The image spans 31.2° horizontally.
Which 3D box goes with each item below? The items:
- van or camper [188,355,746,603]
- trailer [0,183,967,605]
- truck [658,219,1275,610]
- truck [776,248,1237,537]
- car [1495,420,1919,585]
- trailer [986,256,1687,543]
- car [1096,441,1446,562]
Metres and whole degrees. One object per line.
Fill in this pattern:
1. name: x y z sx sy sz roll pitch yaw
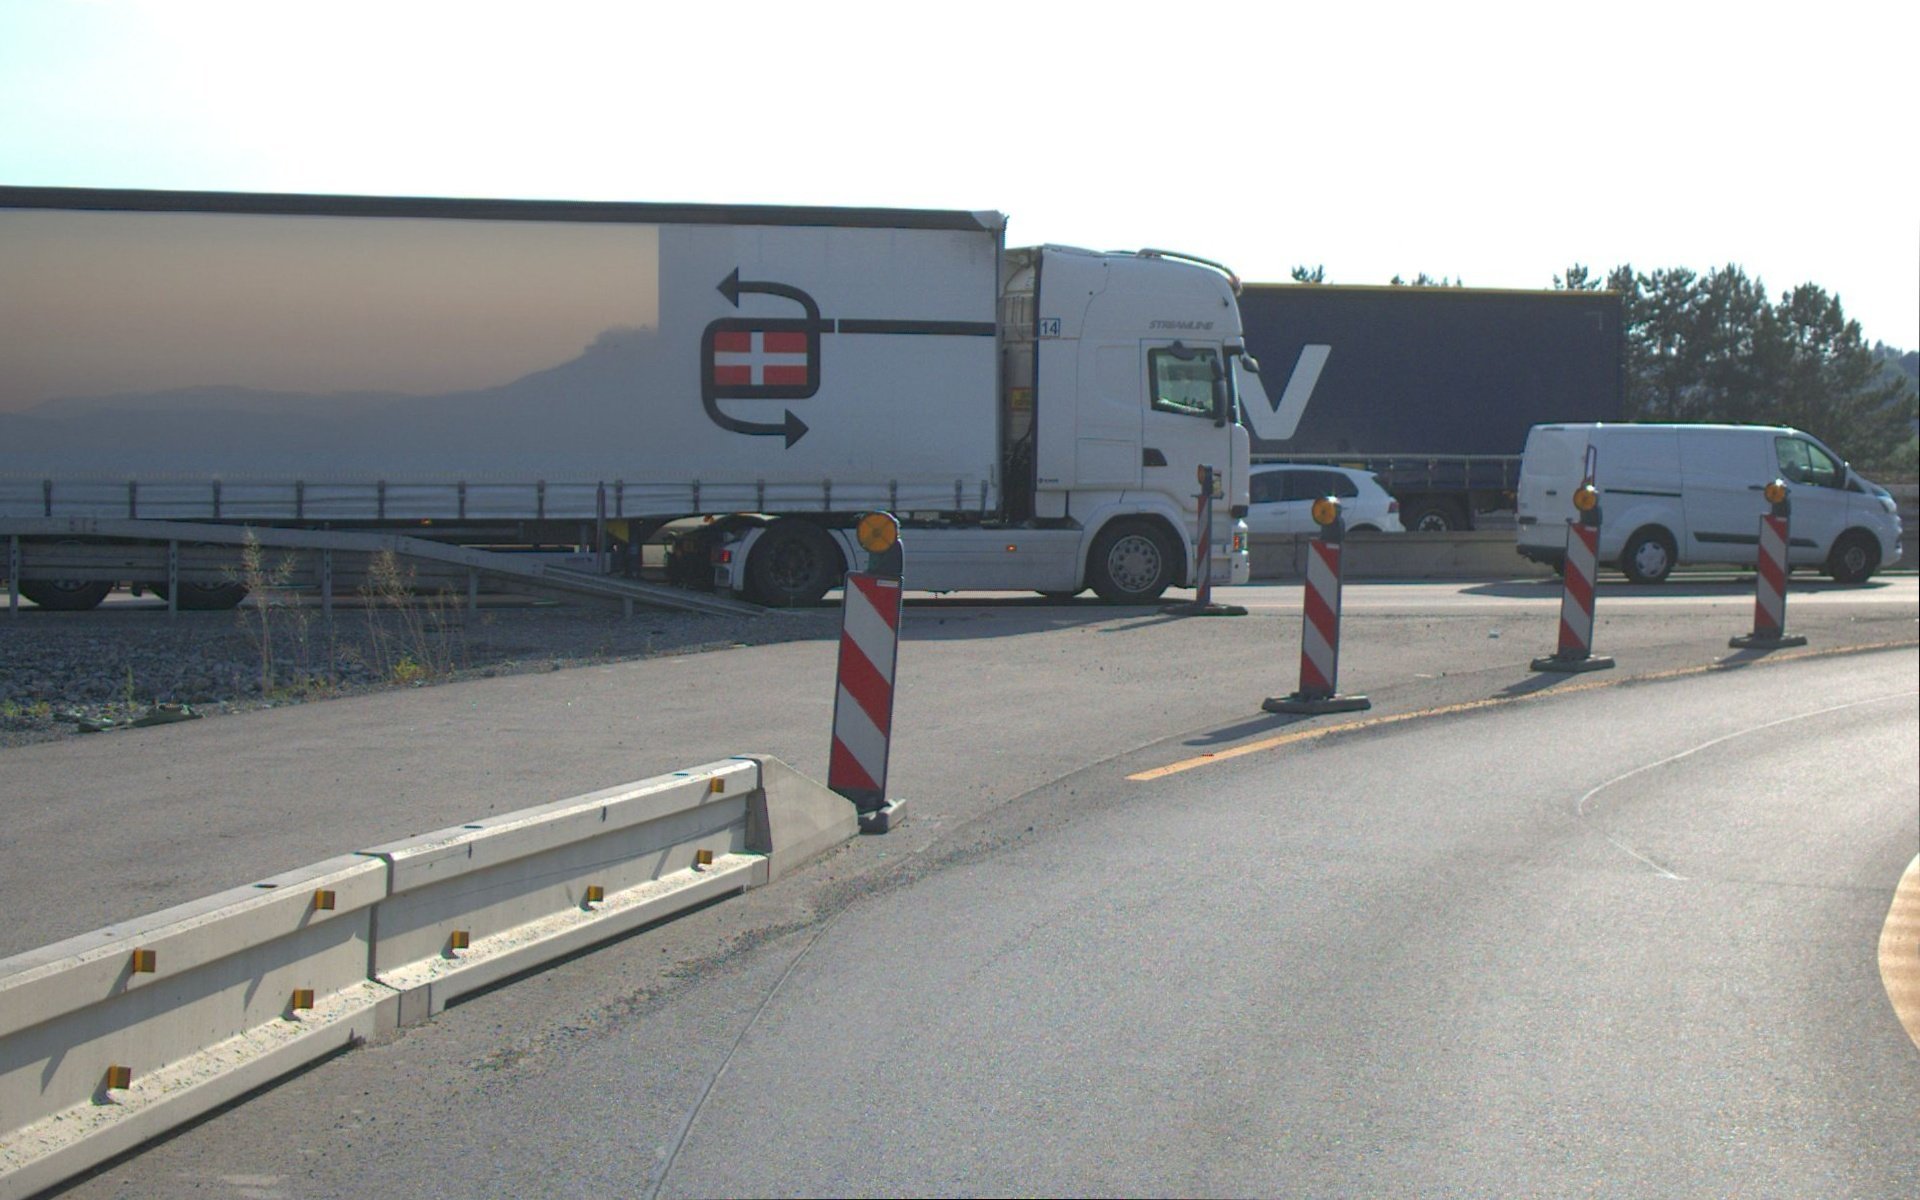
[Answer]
1. van or camper: -5.513 -1.325 38.405 5.882 2.611 2.001 0 2 -18
2. trailer: -6.776 -1.964 33.998 13.582 3.865 2.489 0 2 -19
3. truck: 0.046 -1.886 36.413 5.990 3.865 2.489 0 2 -19
4. truck: 0.609 -2.771 47.547 5.667 3.714 3.007 0 0 -18
5. car: 9.453 -1.229 43.223 4.961 1.974 2.036 0 3 -18
6. trailer: 5.382 -2.746 49.121 9.536 3.739 3.017 0 0 -18
7. car: 4.063 -1.293 44.986 4.223 1.495 1.663 0 3 -18
